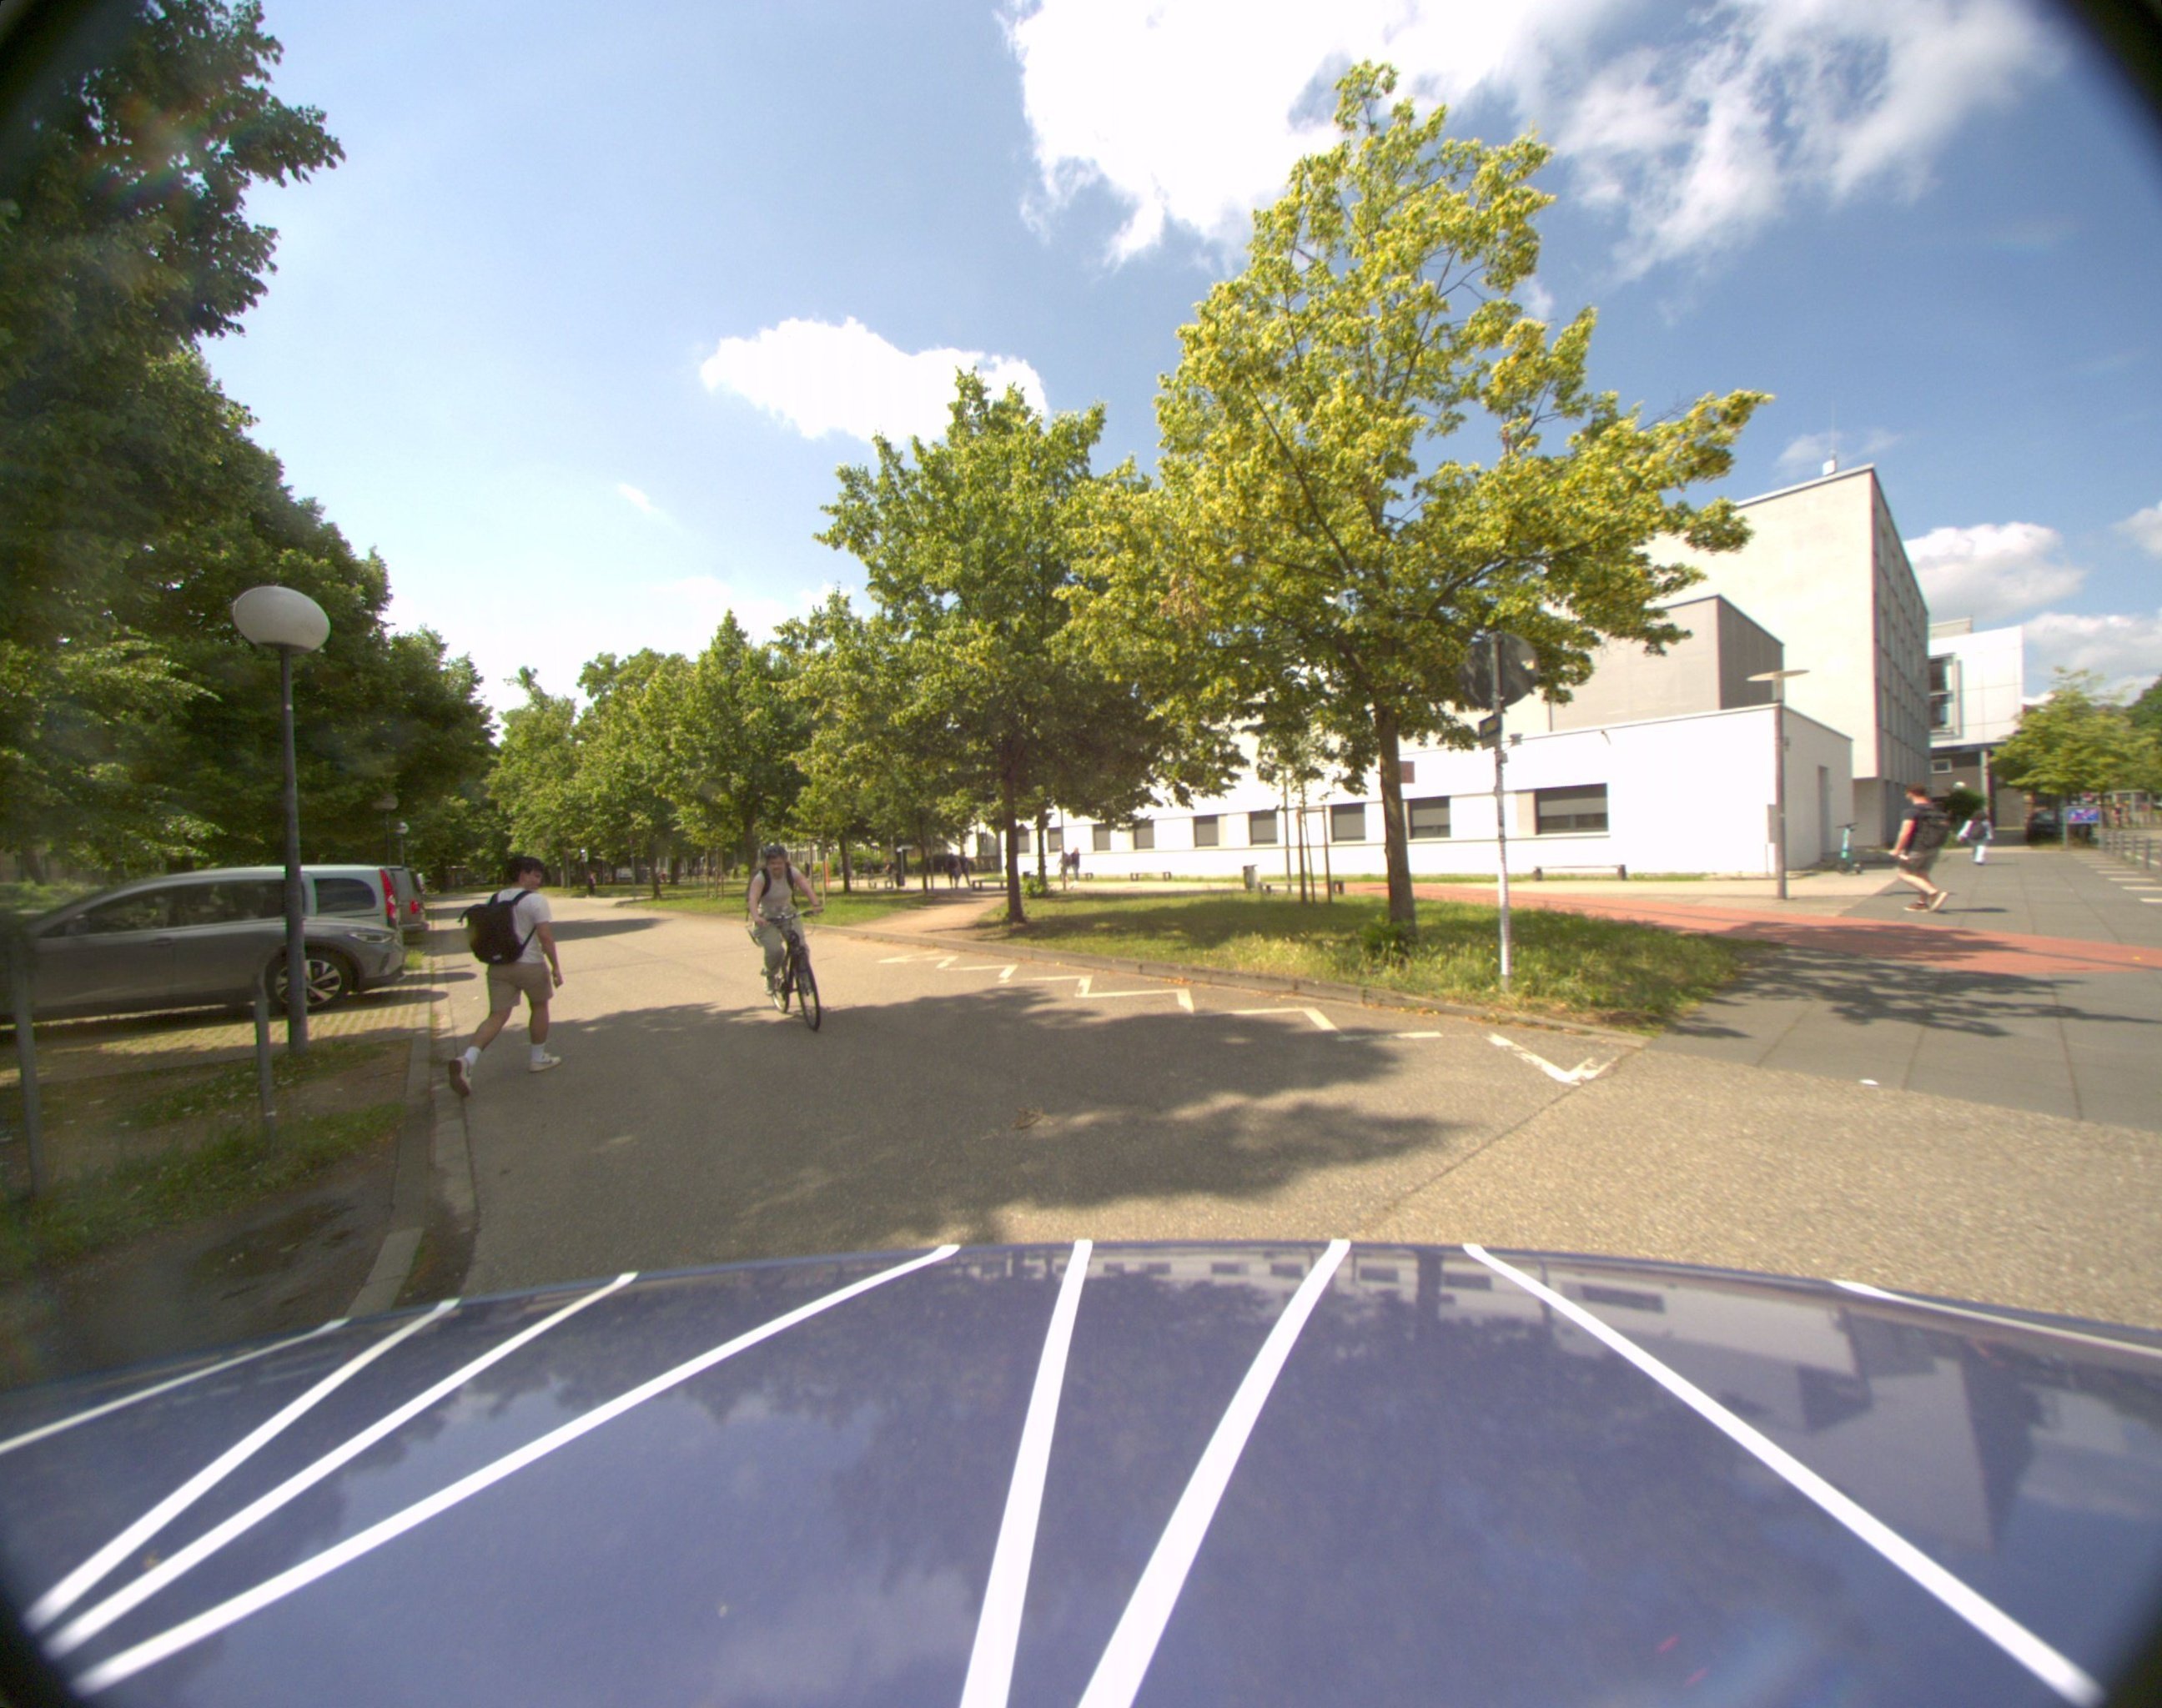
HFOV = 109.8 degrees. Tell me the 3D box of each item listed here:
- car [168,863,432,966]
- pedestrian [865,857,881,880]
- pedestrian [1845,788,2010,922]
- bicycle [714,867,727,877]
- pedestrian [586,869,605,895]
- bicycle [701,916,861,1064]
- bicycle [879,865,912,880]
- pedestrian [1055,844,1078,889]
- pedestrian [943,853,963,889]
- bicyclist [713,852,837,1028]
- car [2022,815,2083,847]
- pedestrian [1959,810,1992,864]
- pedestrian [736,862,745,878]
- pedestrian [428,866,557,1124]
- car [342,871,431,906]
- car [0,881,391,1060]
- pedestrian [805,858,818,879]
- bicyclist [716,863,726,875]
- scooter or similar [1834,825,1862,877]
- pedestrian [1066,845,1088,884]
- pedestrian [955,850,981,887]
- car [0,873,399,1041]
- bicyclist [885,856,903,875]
[{"bbox_3d":[-18.188,1.307,18.044,4.059,2.002,1.995,-3,1,-39],"label":"car"},{"bbox_3d":[-14.988,1.056,54.776,0.851,1.639,0.802,-3,1,-29],"label":"pedestrian"},{"bbox_3d":[12.013,-0.009,10.836,1.021,1.790,1.170,-1,2,-11],"label":"pedestrian"},{"bbox_3d":[-40.538,2.034,85.385,0.780,1.026,2.143,-3,1,-40],"label":"bicycle"},{"bbox_3d":[-28.568,1.635,44.683,0.798,1.479,0.633,-3,1,-40],"label":"pedestrian"},{"bbox_3d":[-2.906,1.191,7.203,0.676,1.066,2.130,-5,2,-40],"label":"bicycle"},{"bbox_3d":[-12.628,1.256,51.752,1.950,0.912,0.796,-3,1,-35],"label":"bicycle"},{"bbox_3d":[-0.565,0.487,30.394,0.710,1.760,0.830,-2,1,10],"label":"pedestrian"},{"bbox_3d":[-5.933,0.777,35.184,0.726,1.647,0.715,-2,1,1],"label":"pedestrian"},{"bbox_3d":[-2.878,0.749,7.112,0.676,1.470,1.060,-5,3,-40],"label":"bicyclist"},{"bbox_3d":[45.368,-1.102,35.537,3.460,1.377,1.549,-3,1,-41],"label":"car"},{"bbox_3d":[24.482,-0.461,20.789,0.702,1.430,0.524,-3,1,-37],"label":"pedestrian"},{"bbox_3d":[-36.023,1.705,80.476,0.597,1.619,0.761,-3,1,-40],"label":"pedestrian"},{"bbox_3d":[-4.312,0.973,5.596,0.643,1.735,0.581,-3,1,-37],"label":"pedestrian"},{"bbox_3d":[-42.669,2.095,46.831,3.862,1.869,1.776,-3,1,-39],"label":"car"},{"bbox_3d":[-10.877,1.230,8.668,4.371,1.642,1.890,-2,0,-41],"label":"car"},{"bbox_3d":[-22.791,1.220,64.233,0.798,1.712,0.633,-3,1,-40],"label":"pedestrian"},{"bbox_3d":[-40.438,1.705,85.248,0.780,1.325,0.826,-3,1,-40],"label":"bicyclist"},{"bbox_3d":[18.626,-0.080,18.447,1.075,1.229,0.326,-3,1,-37],"label":"scooter or similar"},{"bbox_3d":[-0.182,0.475,34.109,0.630,1.678,0.723,-3,1,-40],"label":"pedestrian"},{"bbox_3d":[-5.550,0.698,37.302,0.795,1.765,1.092,-3,1,-35],"label":"pedestrian"},{"bbox_3d":[-12.416,1.285,10.748,4.007,1.827,1.819,-3,1,-41],"label":"car"},{"bbox_3d":[-12.718,0.787,51.652,0.903,1.252,0.796,-3,1,-35],"label":"bicyclist"}]
